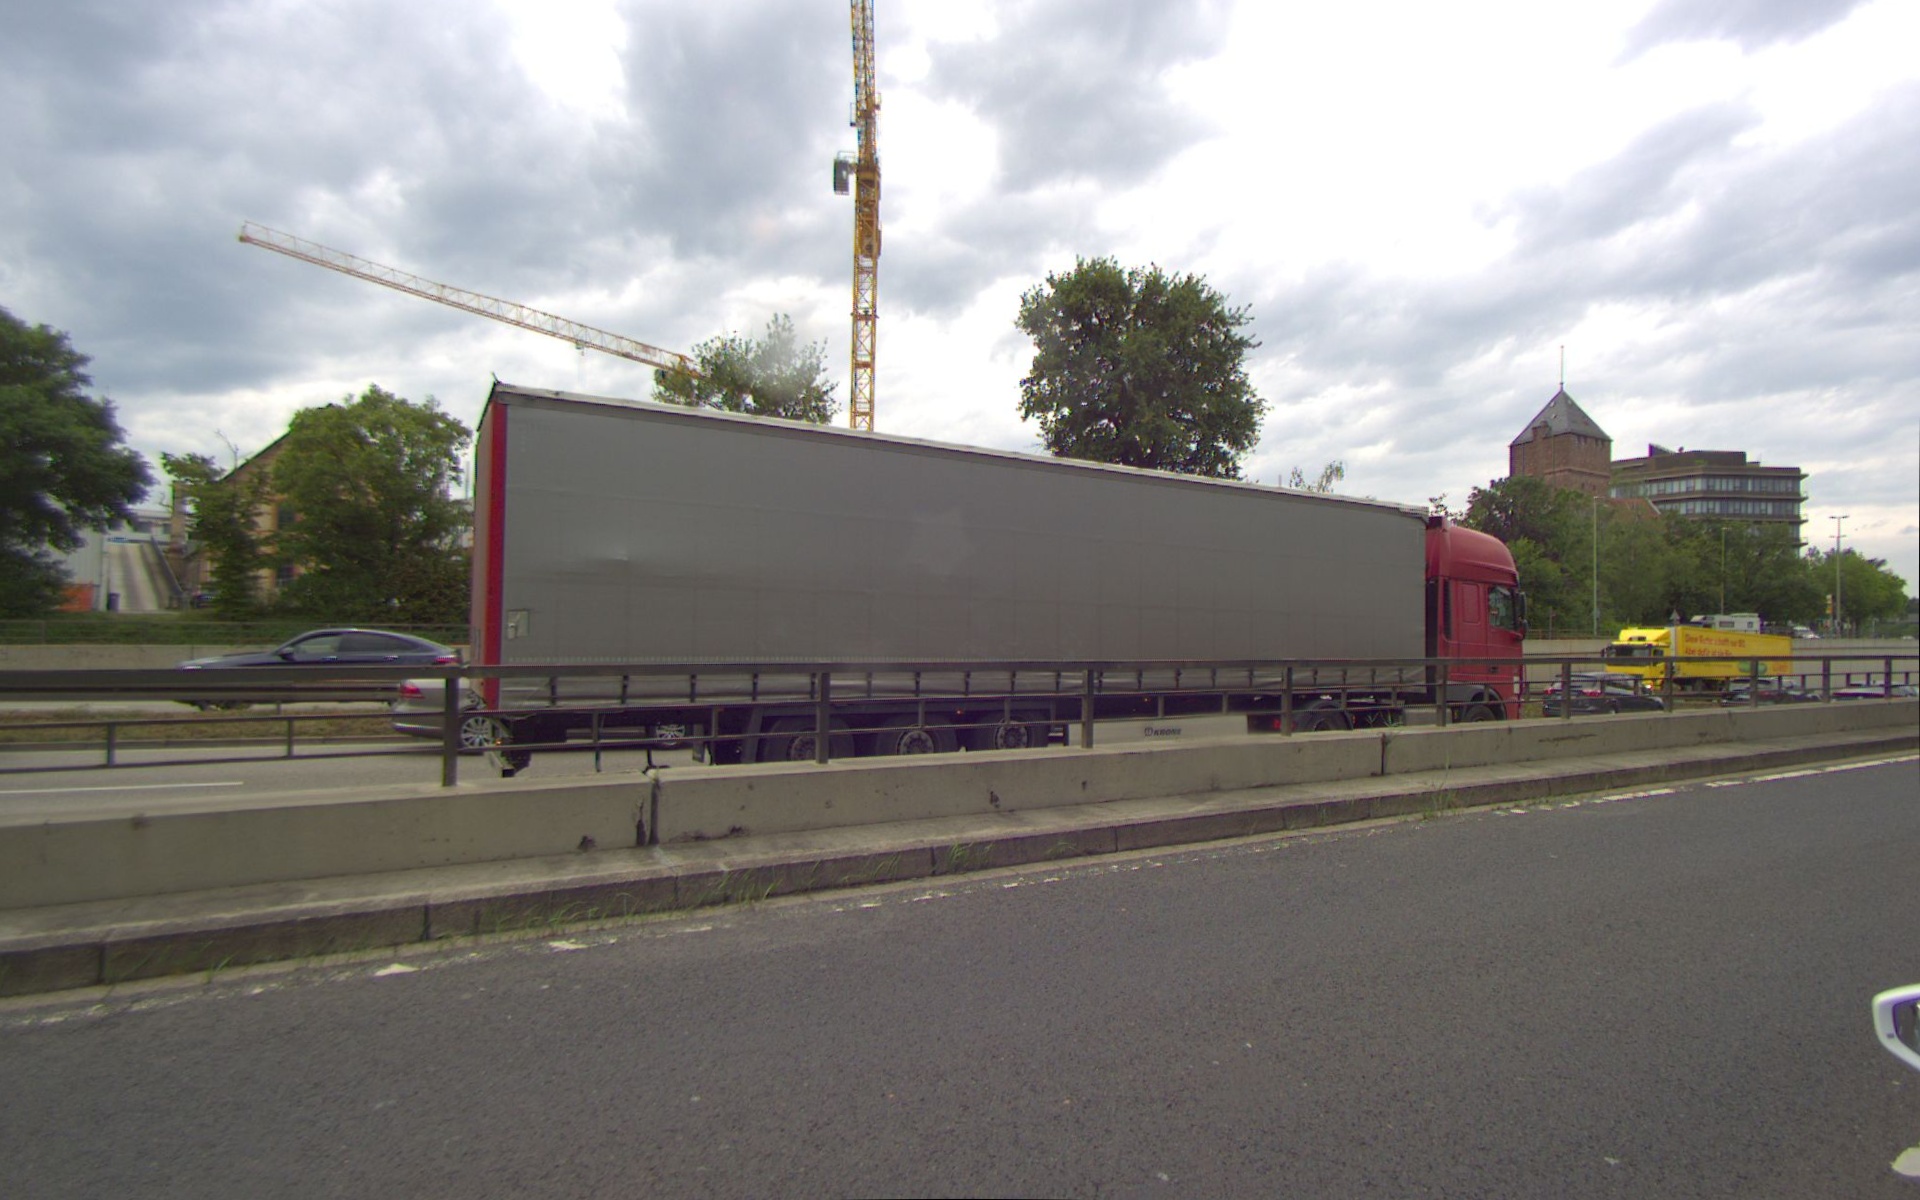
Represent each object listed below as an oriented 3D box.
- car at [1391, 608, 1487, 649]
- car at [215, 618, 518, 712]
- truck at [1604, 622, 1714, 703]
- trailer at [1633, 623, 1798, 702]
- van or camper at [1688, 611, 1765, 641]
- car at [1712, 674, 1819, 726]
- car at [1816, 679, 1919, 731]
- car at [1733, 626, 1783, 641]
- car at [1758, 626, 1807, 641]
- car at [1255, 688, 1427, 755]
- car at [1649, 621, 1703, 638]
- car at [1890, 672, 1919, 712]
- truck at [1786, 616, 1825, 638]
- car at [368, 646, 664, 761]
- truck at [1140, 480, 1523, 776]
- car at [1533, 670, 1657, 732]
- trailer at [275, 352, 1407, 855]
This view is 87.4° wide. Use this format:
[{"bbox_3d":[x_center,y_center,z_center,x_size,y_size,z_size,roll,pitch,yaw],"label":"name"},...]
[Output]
[{"bbox_3d":[19.508,1.165,40.881,3.851,1.532,1.616,2,0,-30],"label":"car"},{"bbox_3d":[-11.188,1.199,19.268,4.783,1.573,1.616,2,0,-30],"label":"car"},{"bbox_3d":[36.998,3.274,53.142,6.027,4.089,2.512,2,-2,-31],"label":"truck"},{"bbox_3d":[42.753,3.468,56.605,13.619,4.089,2.512,2,-2,-31],"label":"trailer"},{"bbox_3d":[78.381,2.653,102.847,5.805,2.847,2.147,2,0,15],"label":"van or camper"},{"bbox_3d":[28.010,3.440,34.898,3.851,1.549,1.616,2,0,-30],"label":"car"},{"bbox_3d":[26.543,2.985,29.010,3.852,1.229,1.647,2,0,-31],"label":"car"},{"bbox_3d":[86.456,3.666,108.868,3.919,1.460,1.630,2,0,9],"label":"car"},{"bbox_3d":[92.975,3.788,113.555,3.919,1.460,1.630,2,0,9],"label":"car"},{"bbox_3d":[8.802,2.742,23.156,3.851,1.229,1.648,2,0,-30],"label":"car"},{"bbox_3d":[68.655,2.792,96.376,3.919,1.460,1.630,2,0,9],"label":"car"},{"bbox_3d":[40.797,3.863,42.085,3.851,1.549,1.616,2,0,-30],"label":"car"},{"bbox_3d":[125.350,3.991,148.970,1.983,3.027,7.098,2,0,19],"label":"truck"},{"bbox_3d":[-6.563,1.475,15.042,3.848,1.460,1.617,2,0,-28],"label":"car"},{"bbox_3d":[6.233,0.503,16.614,6.131,4.089,2.692,2,-2,-30],"label":"truck"},{"bbox_3d":[18.624,2.907,29.406,3.856,1.549,1.645,2,0,-34],"label":"car"},{"bbox_3d":[0.044,0.264,12.963,14.385,4.089,2.639,2,-2,-31],"label":"trailer"}]
